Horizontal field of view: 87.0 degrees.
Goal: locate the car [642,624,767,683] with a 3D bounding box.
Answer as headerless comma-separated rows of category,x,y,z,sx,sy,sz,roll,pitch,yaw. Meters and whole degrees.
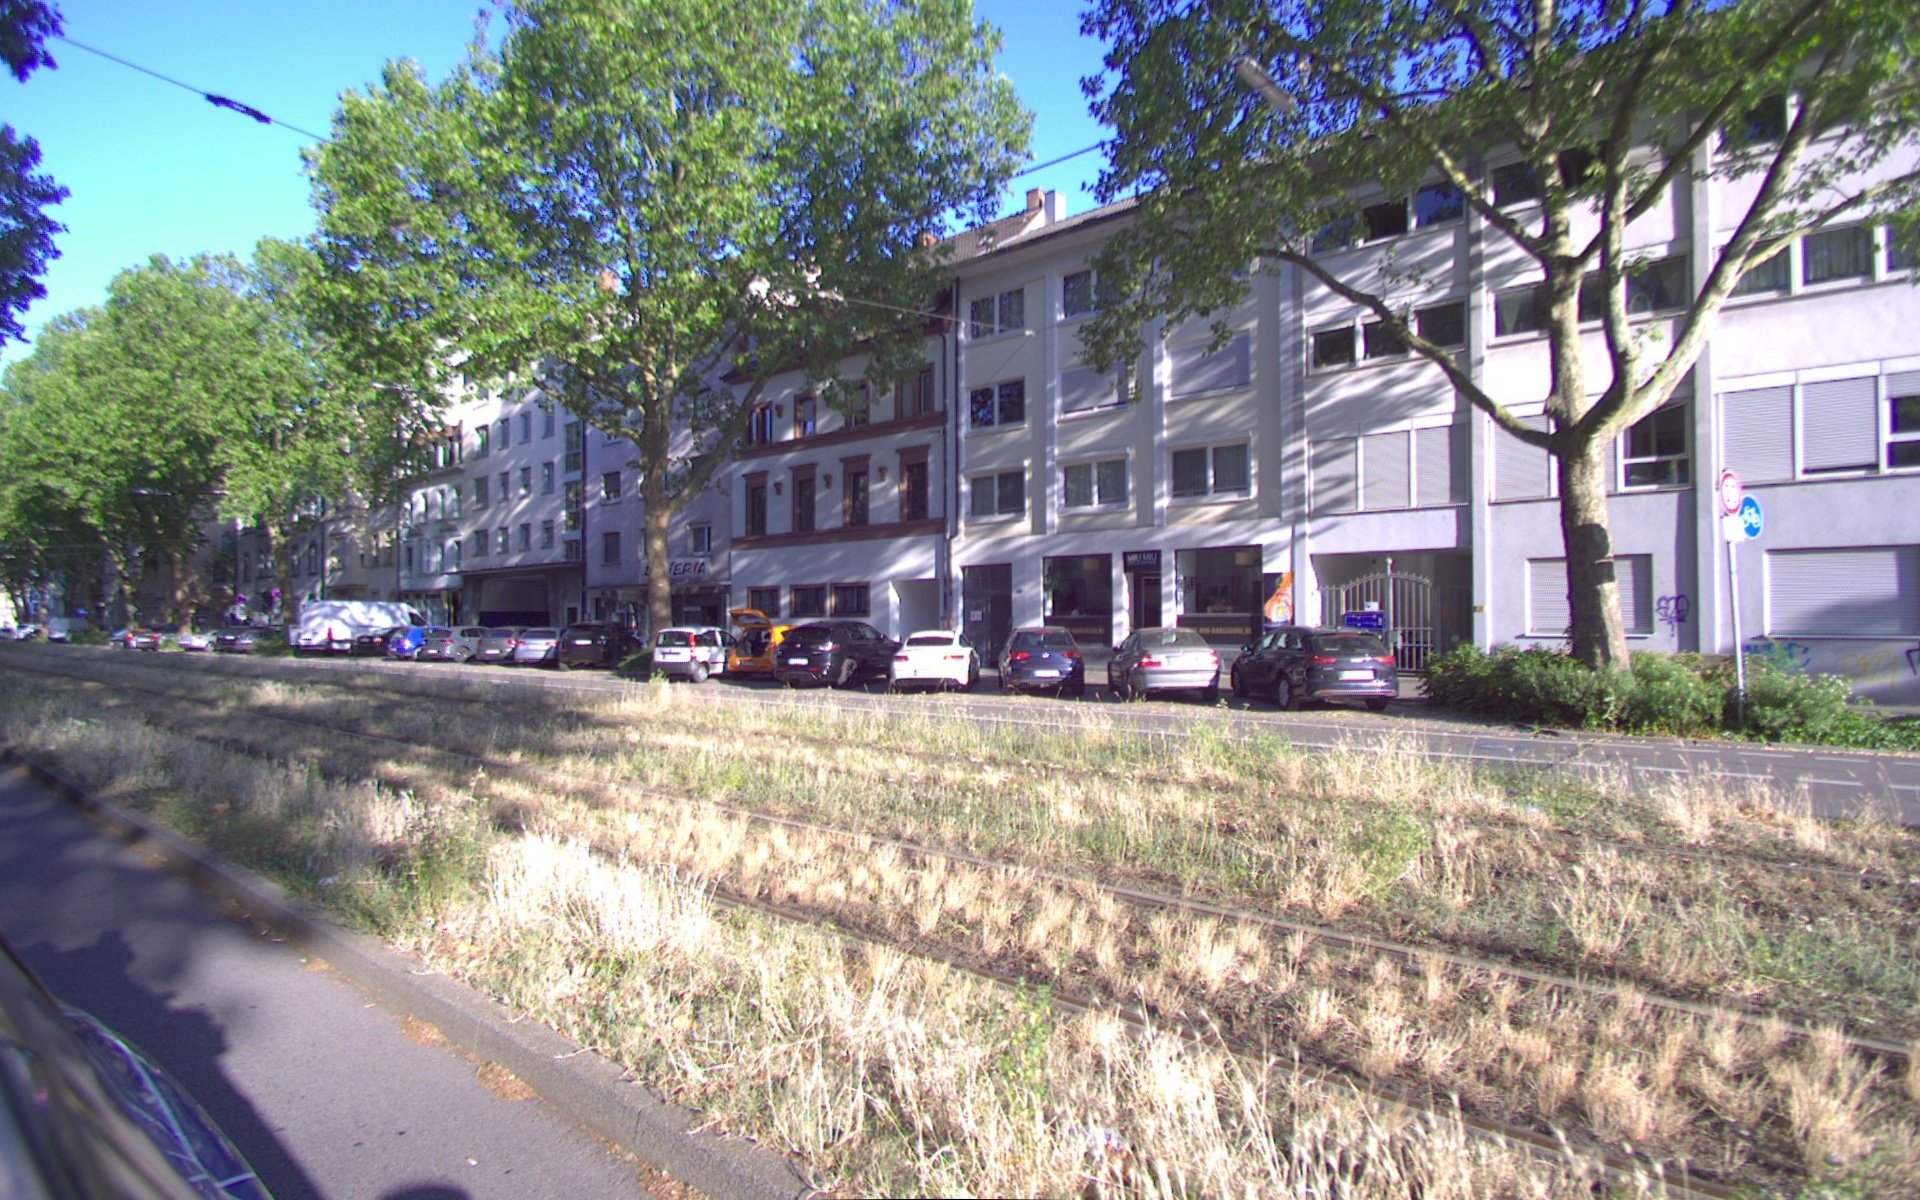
car,-7.226,1.467,29.052,1.643,1.460,4.344,-1,0,14

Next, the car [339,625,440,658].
car,-27.396,1.970,48.729,1.984,1.502,3.975,-1,-2,19

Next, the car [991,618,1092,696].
car,1.761,1.220,22.985,1.776,1.452,4.002,-1,0,-2

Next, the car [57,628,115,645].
car,-82.401,3.447,95.491,1.710,1.256,3.993,-1,2,6

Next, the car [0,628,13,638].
car,-138.258,4.761,146.105,4.000,1.431,1.972,-1,1,43

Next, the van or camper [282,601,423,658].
van or camper,-29.758,1.436,49.851,2.162,2.666,5.928,-1,-1,20

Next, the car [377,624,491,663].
car,-22.614,1.828,43.615,1.854,1.431,3.951,-1,1,37

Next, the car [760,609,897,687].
car,-3.242,1.235,25.937,1.975,1.800,4.343,0,-3,15

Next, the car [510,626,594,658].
car,-22.679,2.319,56.382,1.904,1.733,3.947,-1,-2,39

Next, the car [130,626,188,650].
car,-60.006,2.841,75.876,1.703,1.666,4.008,-1,-2,-9

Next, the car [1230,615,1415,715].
car,6.471,1.096,18.563,1.791,1.490,4.002,-1,0,-2

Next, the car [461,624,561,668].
car,-17.243,1.731,39.084,1.735,1.433,3.992,-1,0,6

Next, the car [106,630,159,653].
car,-53.184,2.630,64.999,4.480,1.400,1.802,-1,-4,40

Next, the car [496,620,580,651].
car,-24.091,1.995,57.893,1.998,1.553,3.948,-1,1,39

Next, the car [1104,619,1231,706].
car,4.088,1.184,20.567,1.698,1.452,4.000,-1,0,0

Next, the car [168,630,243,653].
car,-48.344,2.631,64.942,1.806,1.400,3.669,-1,-1,10

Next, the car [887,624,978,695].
car,-0.566,1.344,24.011,1.700,1.343,4.200,-1,0,4

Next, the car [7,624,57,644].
car,-103.665,3.823,113.081,1.971,2.029,4.002,-1,0,-2

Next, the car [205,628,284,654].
car,-44.299,2.576,62.752,1.803,1.545,3.994,0,-3,5

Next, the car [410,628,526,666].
car,-20.292,1.901,41.866,1.941,1.503,3.963,-1,-2,27

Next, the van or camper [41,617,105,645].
van or camper,-84.703,2.918,96.704,2.171,2.418,4.363,-1,1,0

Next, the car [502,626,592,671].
car,-15.019,1.733,37.015,1.883,1.396,4.004,-1,0,-4

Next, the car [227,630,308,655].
car,-39.599,2.430,57.995,1.778,1.368,4.002,0,-2,3

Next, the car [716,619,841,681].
car,-5.125,1.385,29.138,1.764,1.490,3.973,-1,1,20

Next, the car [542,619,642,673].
car,-12.414,1.515,34.402,1.972,1.673,4.000,-1,-1,0

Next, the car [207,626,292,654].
car,-42.116,2.403,60.110,1.912,1.605,4.155,0,-3,4
